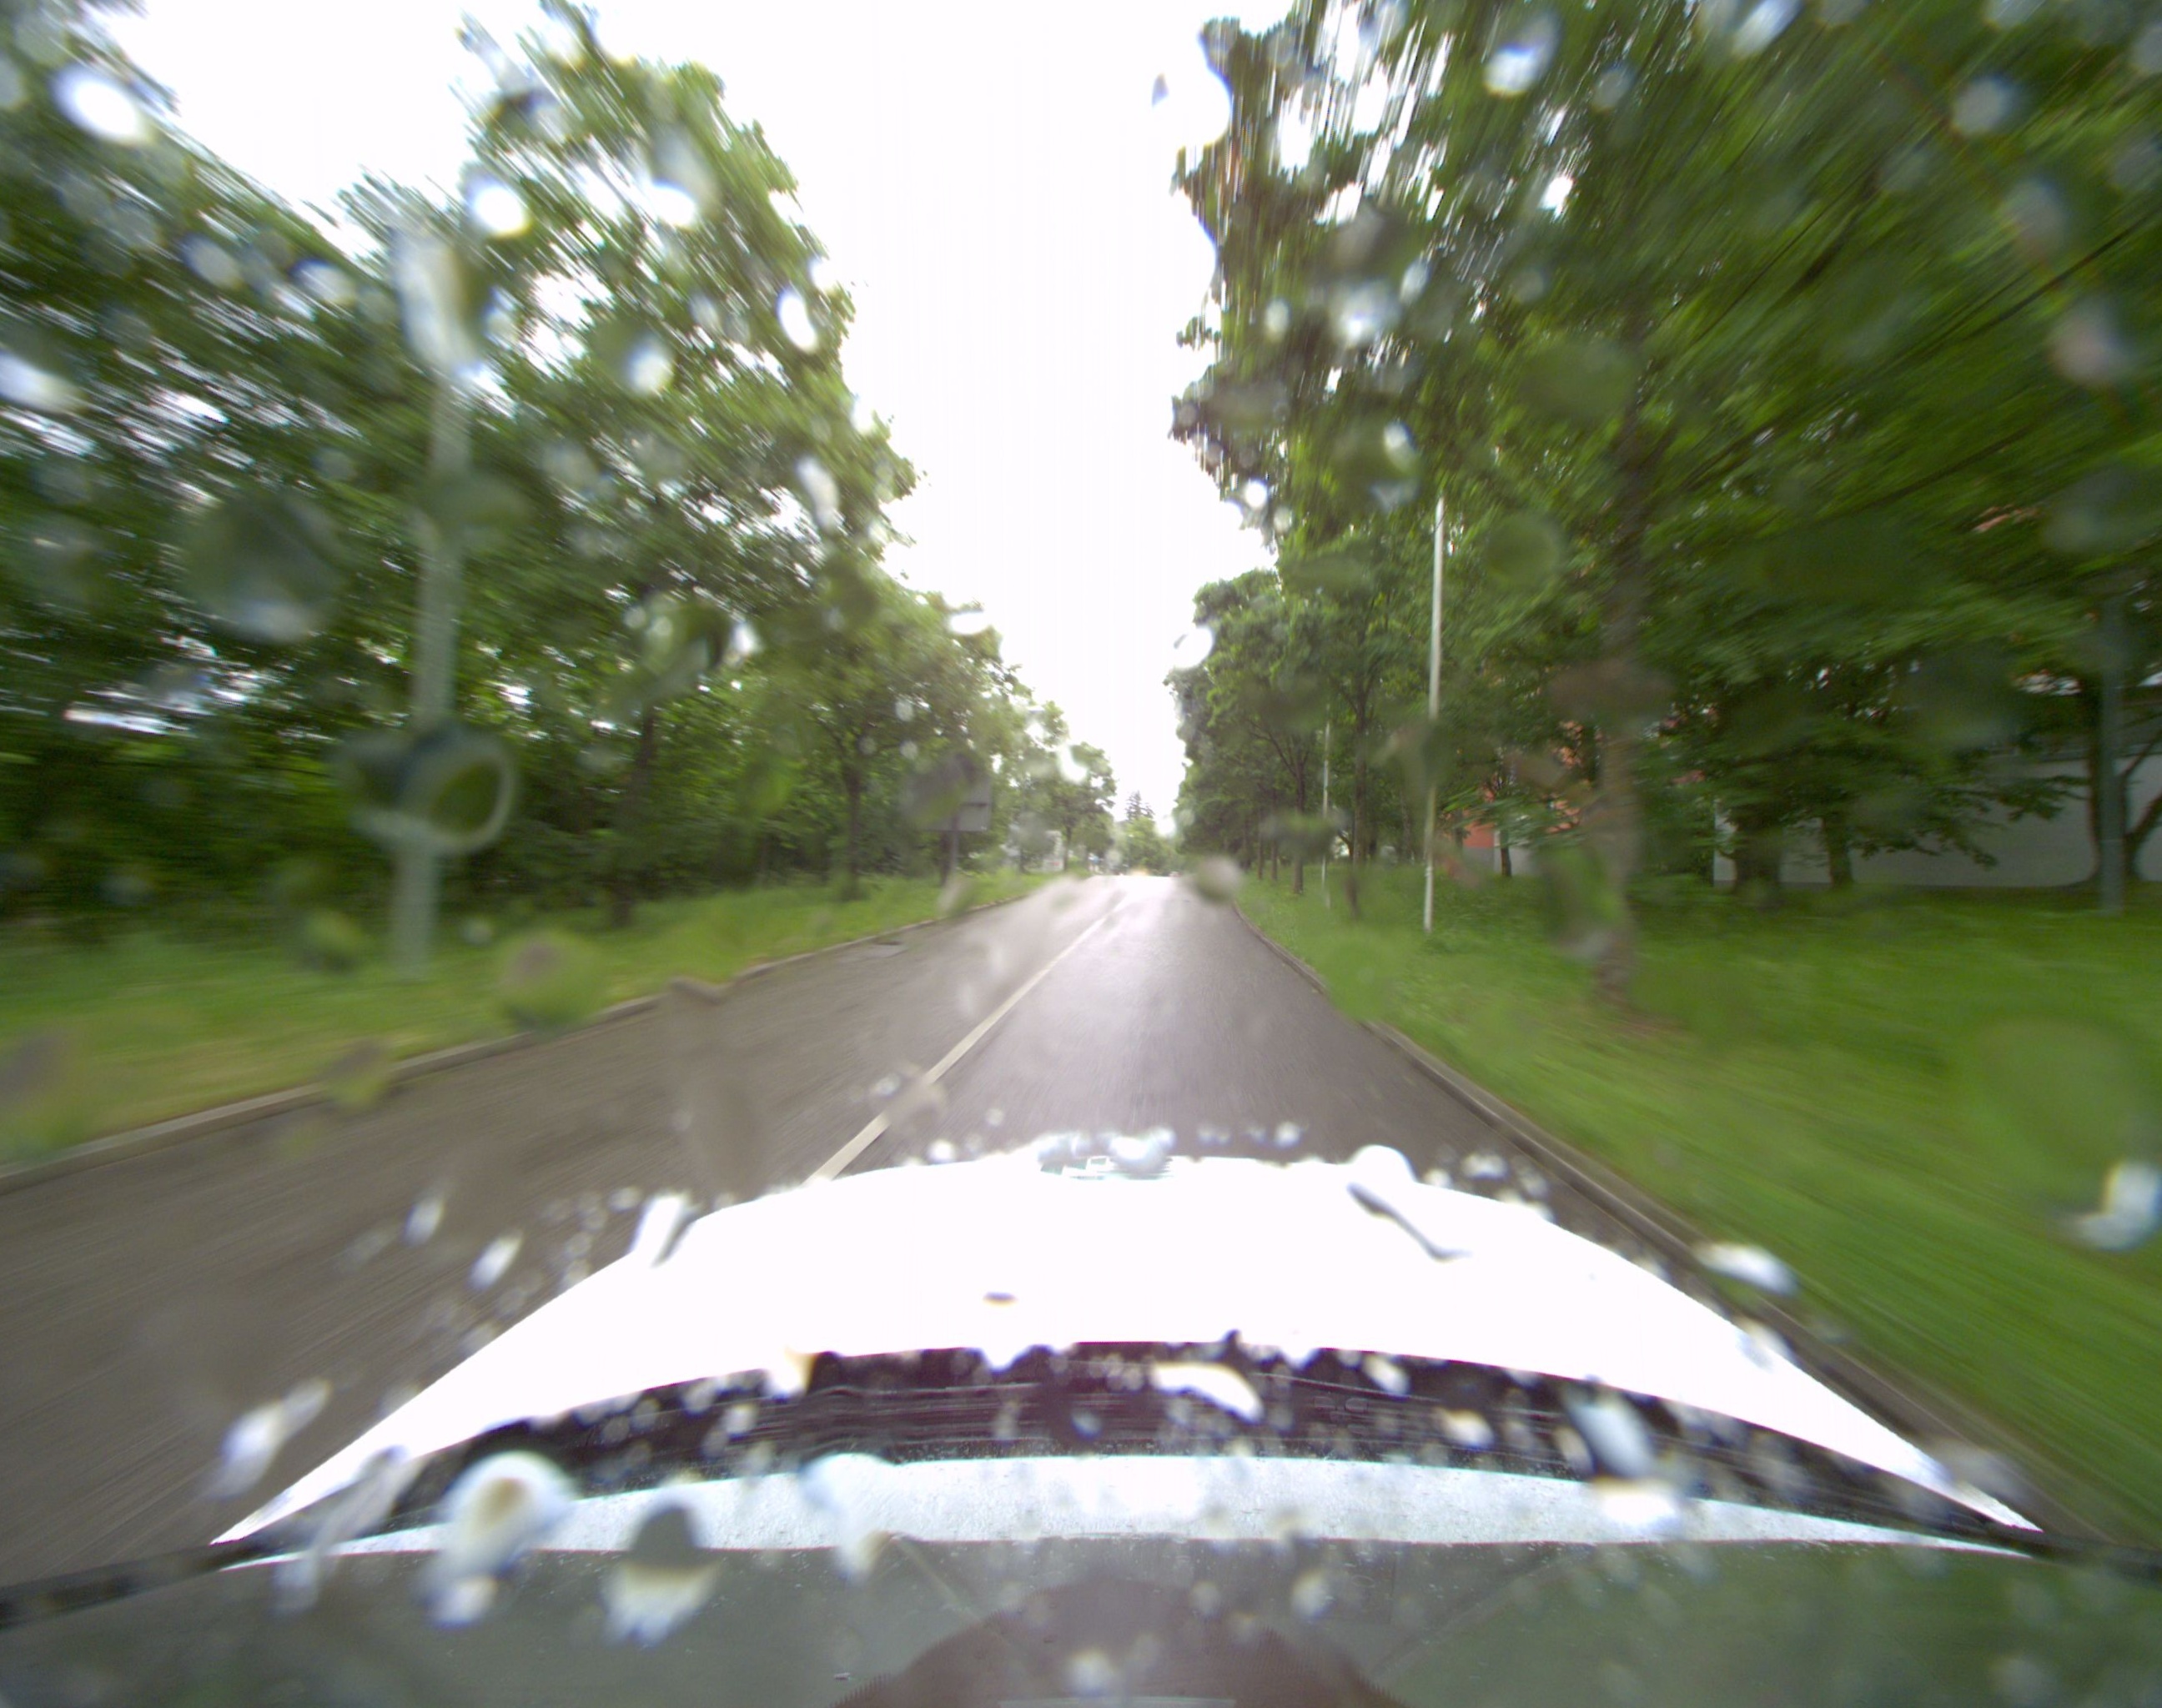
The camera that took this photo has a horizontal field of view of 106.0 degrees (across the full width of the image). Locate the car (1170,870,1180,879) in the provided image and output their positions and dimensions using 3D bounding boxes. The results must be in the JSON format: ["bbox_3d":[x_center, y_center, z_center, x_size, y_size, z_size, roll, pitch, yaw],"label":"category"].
[{"bbox_3d":[17.433,3.832,151.158,1.727,1.511,4.007,0,-2,7],"label":"car"}]
